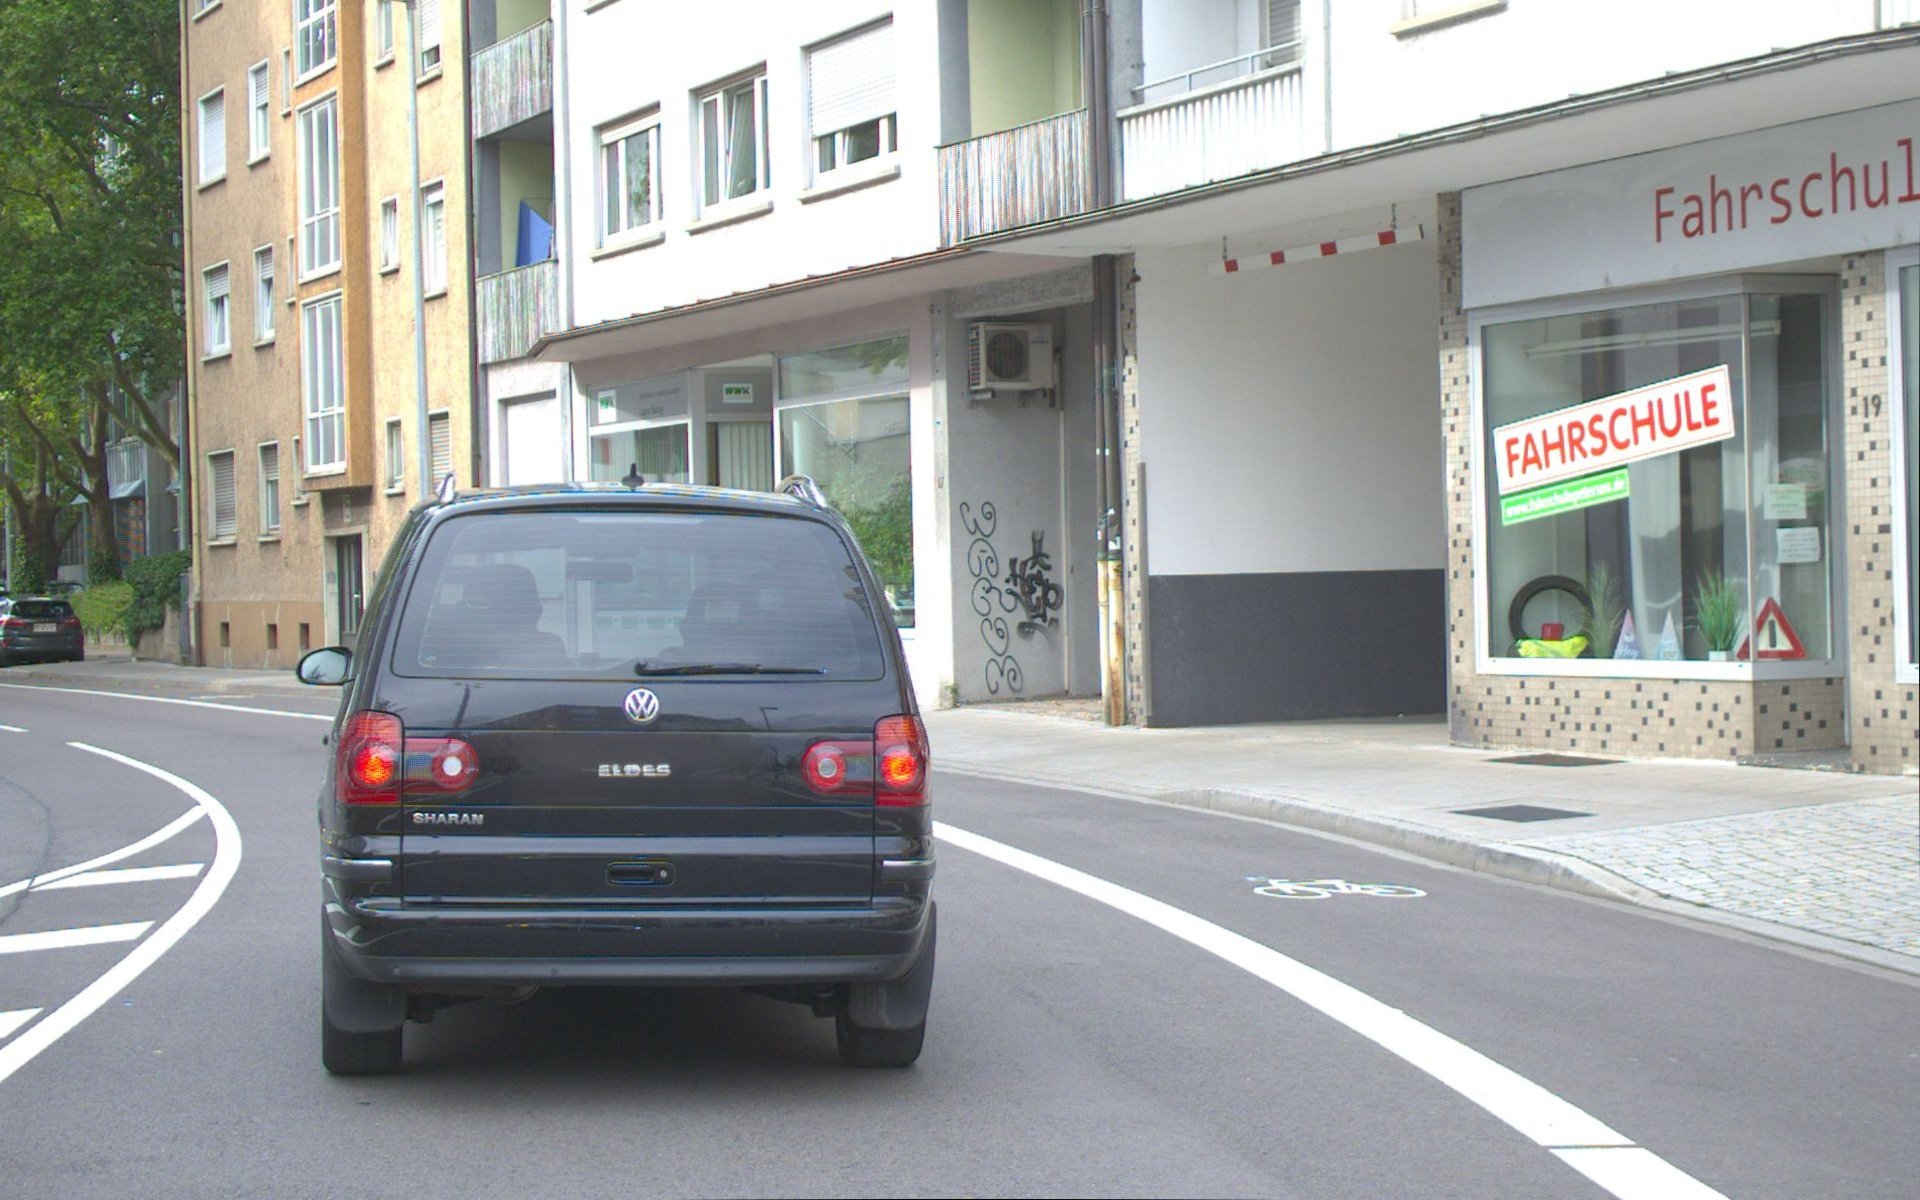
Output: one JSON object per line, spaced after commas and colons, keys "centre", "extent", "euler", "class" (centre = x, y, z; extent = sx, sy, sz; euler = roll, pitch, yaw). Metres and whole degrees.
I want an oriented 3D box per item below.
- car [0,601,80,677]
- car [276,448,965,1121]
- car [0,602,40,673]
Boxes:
{"centre": [-18.867, 0.757, 68.896], "extent": [1.657, 1.417, 3.867], "euler": [-1, 1, -26], "class": "car"}
{"centre": [-1.122, 0.476, 10.958], "extent": [1.812, 1.760, 3.739], "euler": [0, 0, -7], "class": "car"}
{"centre": [-20.753, 0.783, 72.982], "extent": [1.657, 1.417, 3.947], "euler": [-1, 1, -26], "class": "car"}
